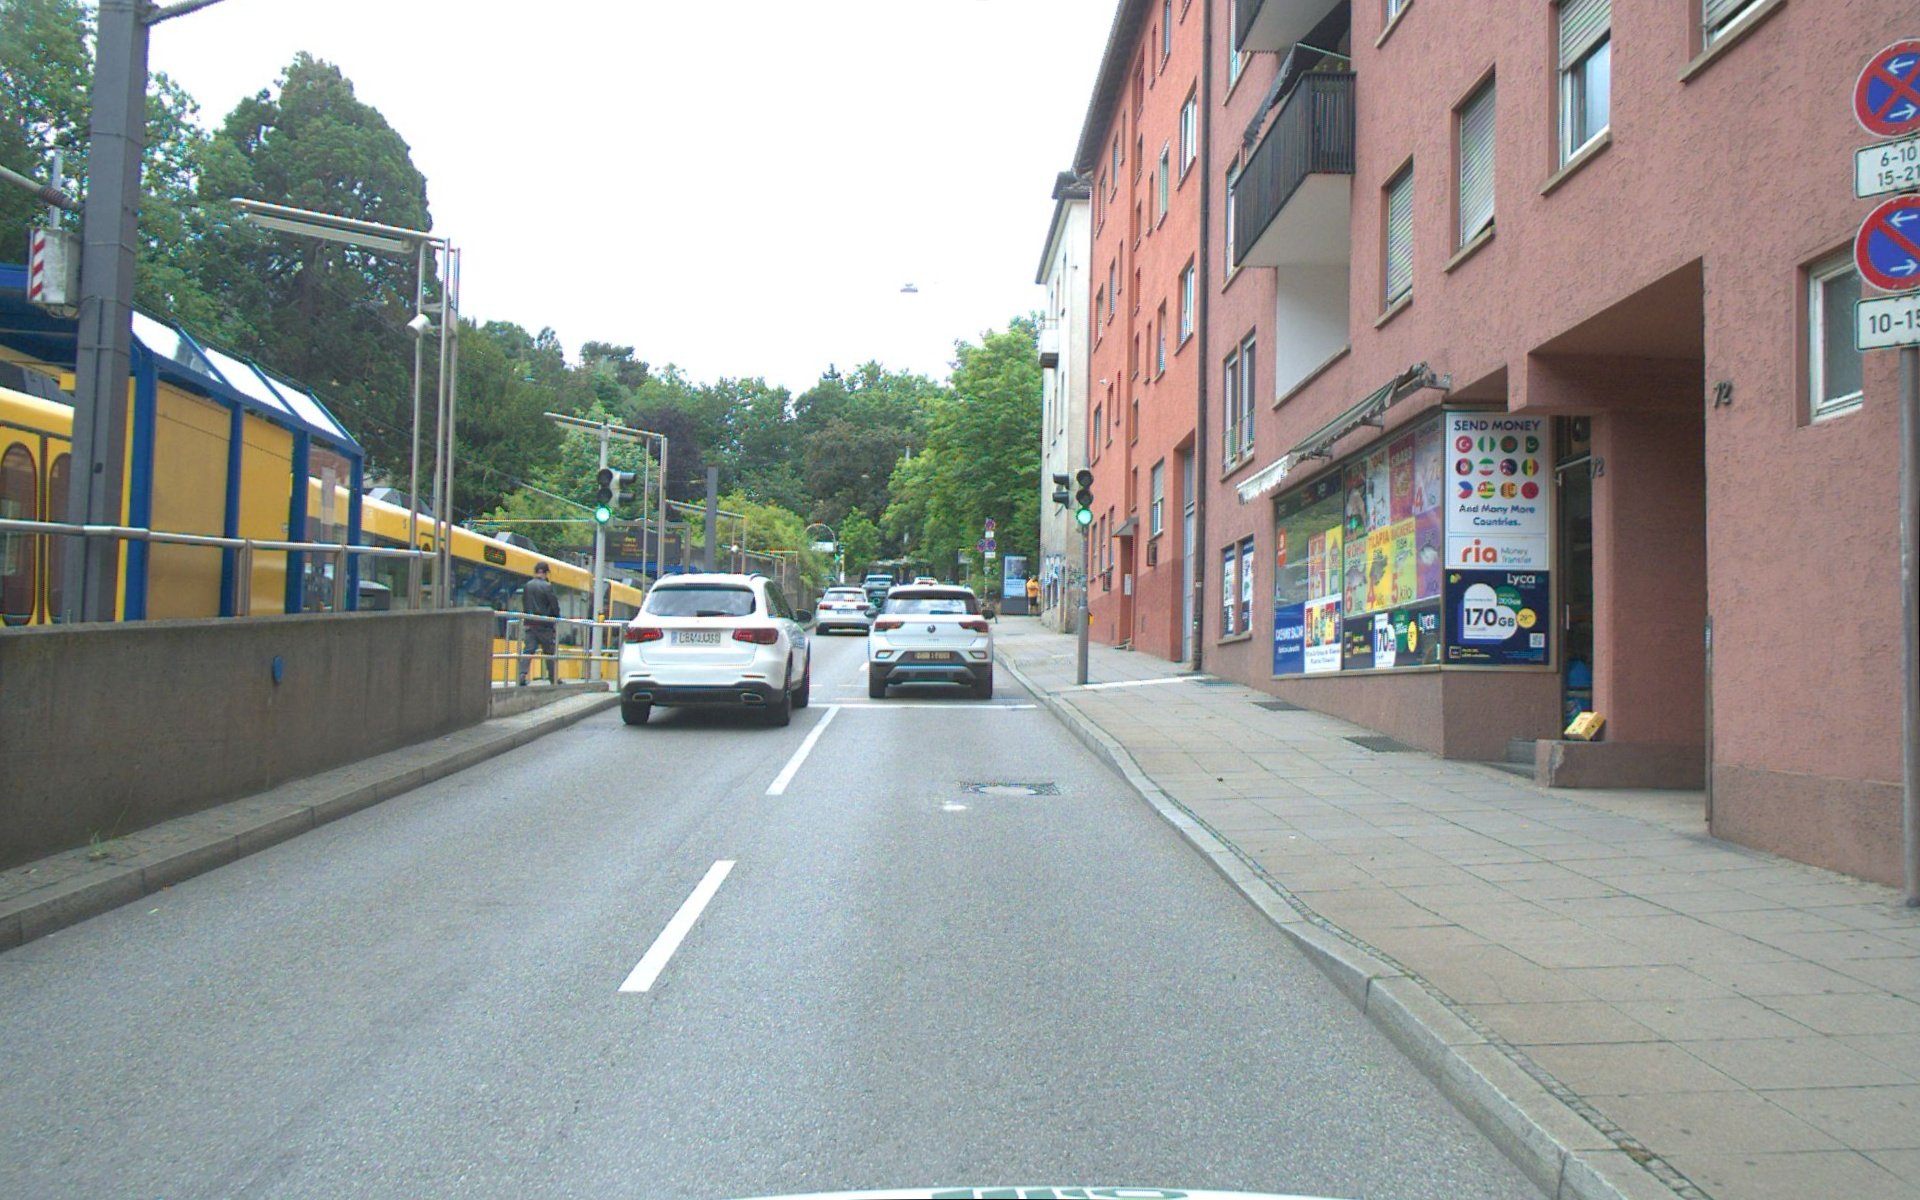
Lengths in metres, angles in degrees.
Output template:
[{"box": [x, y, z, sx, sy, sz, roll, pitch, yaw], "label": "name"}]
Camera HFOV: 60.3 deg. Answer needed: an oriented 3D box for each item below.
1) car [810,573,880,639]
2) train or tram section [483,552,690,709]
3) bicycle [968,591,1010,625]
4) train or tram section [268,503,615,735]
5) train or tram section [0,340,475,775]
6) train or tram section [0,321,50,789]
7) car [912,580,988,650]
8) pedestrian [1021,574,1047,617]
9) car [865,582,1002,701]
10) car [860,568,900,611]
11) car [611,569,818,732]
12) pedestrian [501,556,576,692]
[{"box": [-3.579, 0.169, 52.131, 1.953, 1.914, 3.999, 2, 0, -2], "label": "car"}, {"box": [-9.566, 0.834, 44.226, 2.890, 3.570, 12.980, 1, -1, -2], "label": "train or tram section"}, {"box": [1.038, 0.286, 59.860, 0.631, 1.163, 2.048, -4, 2, -26], "label": "bicycle"}, {"box": [-9.258, 0.489, 31.620, 2.889, 3.545, 12.214, 1, -2, -1], "label": "train or tram section"}, {"box": [-8.909, -0.042, 19.480, 2.889, 3.533, 12.213, 1, -3, -1], "label": "train or tram section"}, {"box": [-8.767, -0.583, 7.122, 2.889, 3.606, 12.393, 1, -2, -1], "label": "train or tram section"}, {"box": [-0.276, 0.351, 42.277, 1.823, 1.660, 3.958, 1, 0, -1], "label": "car"}, {"box": [3.000, -0.181, 67.008, 0.819, 1.742, 0.818, 0, 0, -15], "label": "pedestrian"}, {"box": [-0.344, 0.543, 24.092, 1.826, 1.583, 3.894, -1, 0, 0], "label": "car"}, {"box": [-3.713, -0.502, 77.144, 1.714, 1.914, 3.999, 2, 0, -2], "label": "car"}, {"box": [-2.742, 0.516, 19.373, 1.839, 1.681, 4.340, 0, 0, -1], "label": "car"}, {"box": [-5.743, 0.317, 22.564, 0.784, 1.808, 0.818, 1, 0, -1], "label": "pedestrian"}]
